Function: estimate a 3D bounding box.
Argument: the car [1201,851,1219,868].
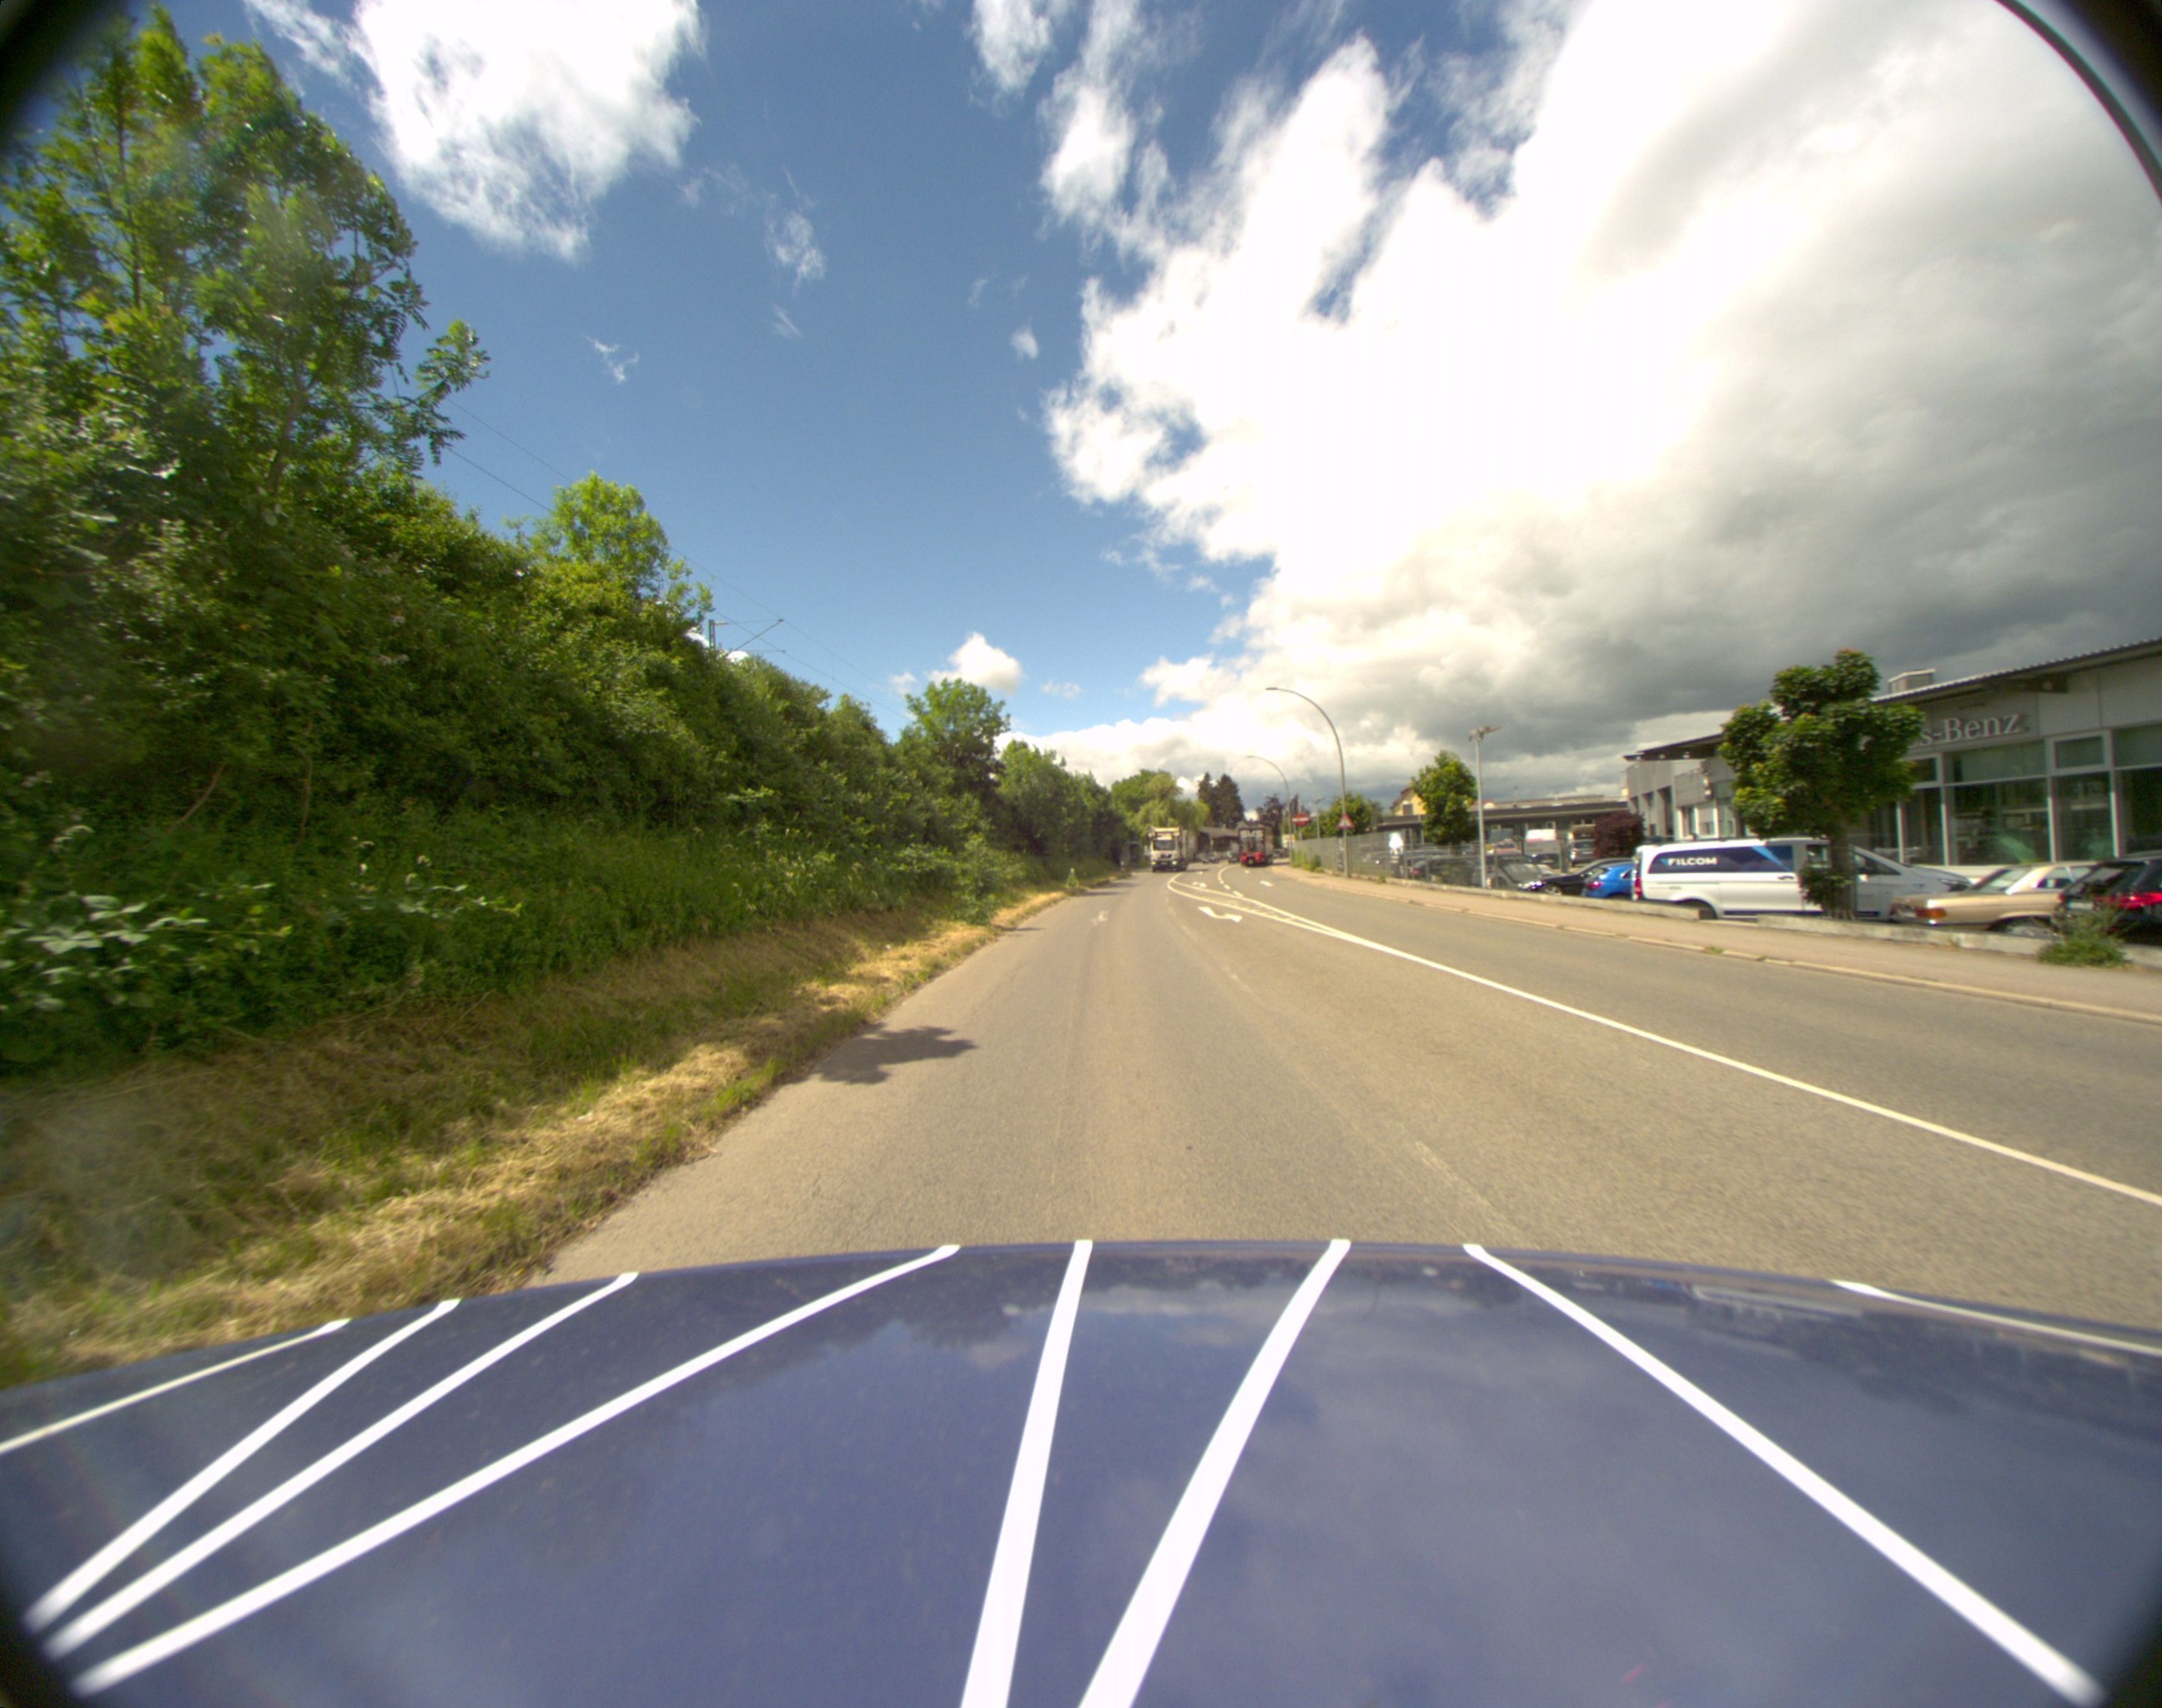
[{"bbox_3d":[17.290,0.722,101.644,1.952,2.002,4.004,-2,0,14],"label":"car"}]

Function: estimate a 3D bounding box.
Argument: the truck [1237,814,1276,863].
[{"bbox_3d":[18.038,-1.585,77.807,2.977,4.634,8.188,-2,1,18],"label":"truck"}]

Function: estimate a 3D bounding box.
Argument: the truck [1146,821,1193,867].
[{"bbox_3d":[8.062,-0.880,68.177,2.902,3.746,9.643,-2,1,13],"label":"truck"}]

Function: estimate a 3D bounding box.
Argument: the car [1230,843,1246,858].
[{"bbox_3d":[19.500,-0.448,94.316,1.798,1.723,4.004,0,1,14],"label":"car"}]

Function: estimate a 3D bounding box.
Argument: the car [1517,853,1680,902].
[{"bbox_3d":[15.767,0.730,23.429,3.945,1.285,1.807,-4,-1,29],"label":"car"}]

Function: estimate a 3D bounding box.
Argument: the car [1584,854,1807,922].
[{"bbox_3d":[14.472,0.822,18.227,3.945,1.417,1.807,-4,-1,34],"label":"car"}]

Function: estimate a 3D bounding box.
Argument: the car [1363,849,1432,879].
[{"bbox_3d":[17.813,0.579,42.895,3.262,1.565,1.583,-2,0,9],"label":"car"}]

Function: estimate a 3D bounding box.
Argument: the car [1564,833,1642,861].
[{"bbox_3d":[29.107,-0.399,42.419,3.261,1.443,1.434,-2,1,14],"label":"car"}]

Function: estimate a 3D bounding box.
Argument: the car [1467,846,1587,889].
[{"bbox_3d":[17.457,0.518,29.852,3.660,1.454,1.659,-3,-1,5],"label":"car"}]

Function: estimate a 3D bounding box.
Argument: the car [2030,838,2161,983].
[{"bbox_3d":[14.273,0.539,8.286,4.497,1.615,1.808,-4,-1,32],"label":"car"}]

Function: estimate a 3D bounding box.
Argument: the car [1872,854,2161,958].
[{"bbox_3d":[15.019,0.733,11.067,4.454,1.321,1.896,-5,-1,32],"label":"car"}]

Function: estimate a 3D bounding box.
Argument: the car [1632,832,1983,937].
[{"bbox_3d":[14.322,0.574,15.509,4.945,1.827,1.896,-2,0,36],"label":"car"}]

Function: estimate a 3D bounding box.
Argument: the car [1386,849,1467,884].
[{"bbox_3d":[16.757,0.587,36.987,3.262,1.565,1.583,-2,0,9],"label":"car"}]
